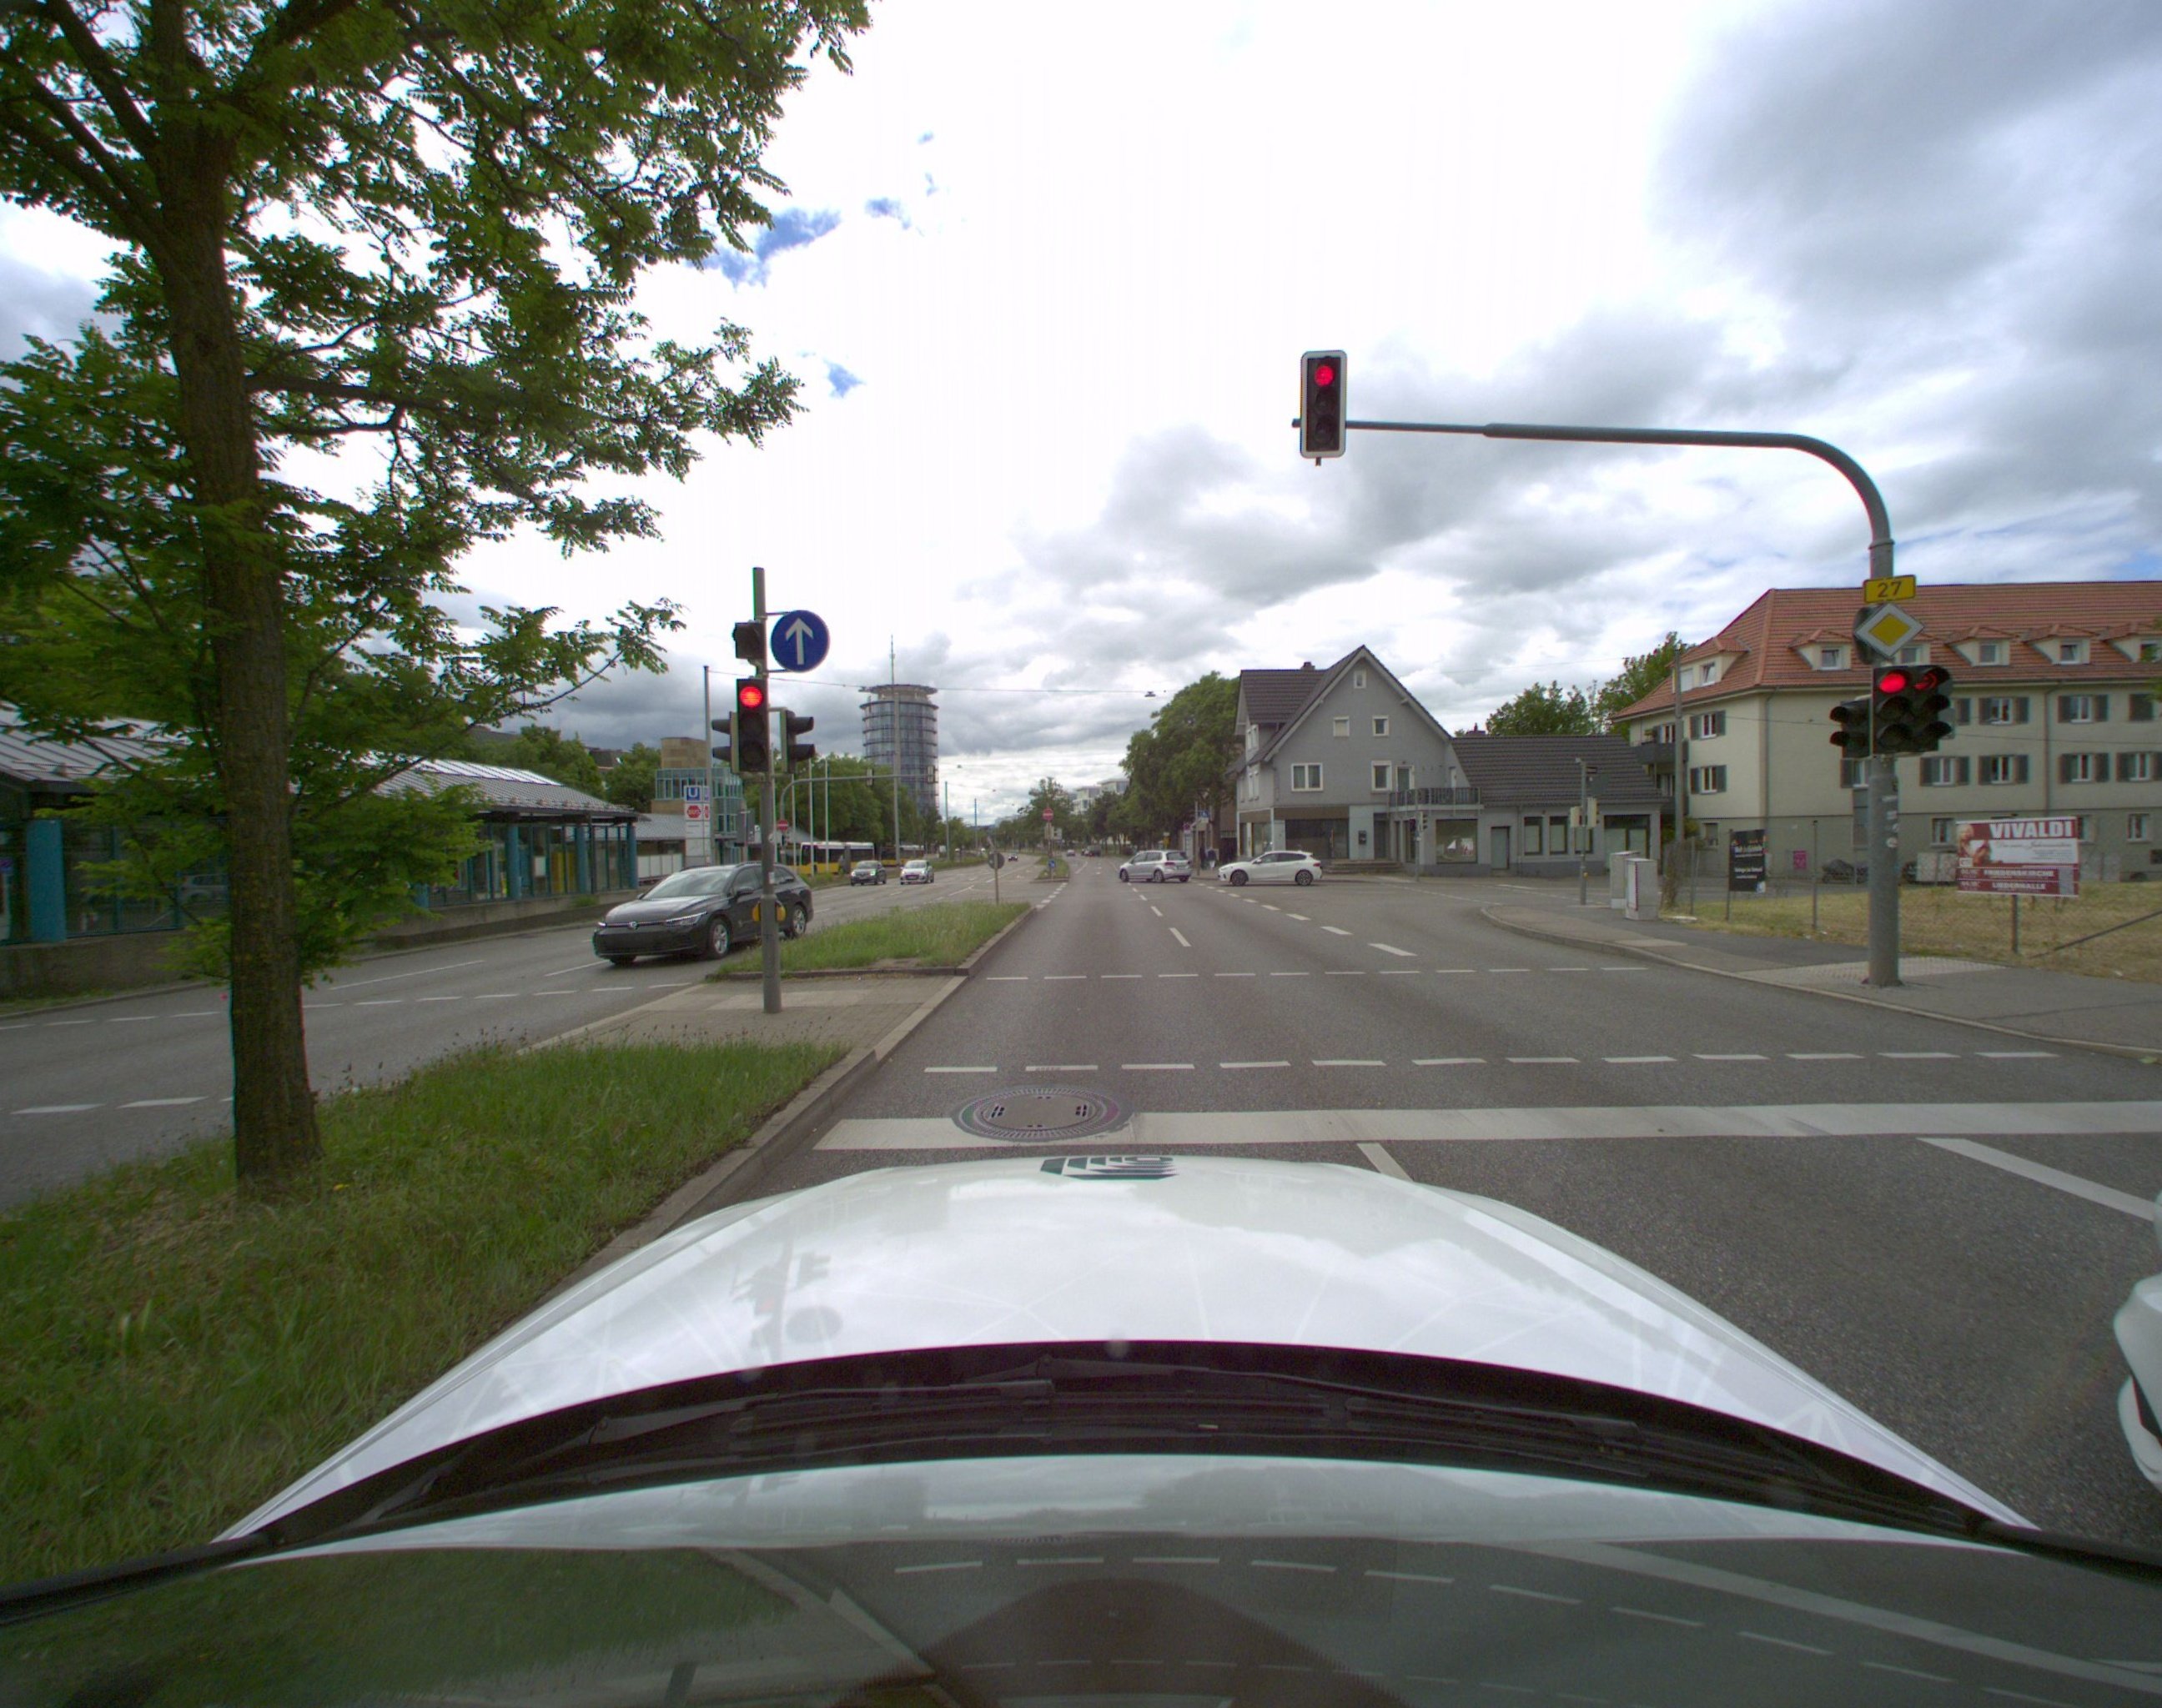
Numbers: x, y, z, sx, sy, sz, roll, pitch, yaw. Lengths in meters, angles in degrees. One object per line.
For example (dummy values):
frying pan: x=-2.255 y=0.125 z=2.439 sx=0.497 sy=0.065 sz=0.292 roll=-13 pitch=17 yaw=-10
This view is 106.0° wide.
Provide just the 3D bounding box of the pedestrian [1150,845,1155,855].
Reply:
pedestrian: x=11.169 y=-0.597 z=127.480 sx=0.649 sy=1.570 sz=0.669 roll=-2 pitch=0 yaw=-6

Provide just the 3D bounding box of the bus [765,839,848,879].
bus: x=-24.323 y=0.408 z=72.878 sx=2.975 sy=3.250 sz=10.186 roll=-2 pitch=0 yaw=6

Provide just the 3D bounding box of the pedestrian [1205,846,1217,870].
pedestrian: x=8.402 y=0.244 z=52.545 sx=0.701 sy=1.507 sz=0.872 roll=-2 pitch=0 yaw=10

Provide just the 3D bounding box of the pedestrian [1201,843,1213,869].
pedestrian: x=8.710 y=0.148 z=56.342 sx=0.700 sy=1.780 sz=0.874 roll=-2 pitch=0 yaw=16

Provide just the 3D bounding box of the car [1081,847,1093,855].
car: x=1.300 y=-0.548 z=174.114 sx=2.246 sy=1.647 sz=4.927 roll=-2 pitch=0 yaw=-3

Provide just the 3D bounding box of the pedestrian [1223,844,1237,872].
pedestrian: x=9.560 y=0.230 z=52.190 sx=0.702 sy=1.760 sz=1.053 roll=-2 pitch=0 yaw=4

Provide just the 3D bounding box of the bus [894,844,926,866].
bus: x=-26.032 y=0.131 z=124.337 sx=3.134 sy=3.225 sz=7.765 roll=-2 pitch=0 yaw=0

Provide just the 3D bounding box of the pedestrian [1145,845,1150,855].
pedestrian: x=10.357 y=-0.593 z=127.572 sx=0.649 sy=1.570 sz=0.669 roll=-2 pitch=0 yaw=-6

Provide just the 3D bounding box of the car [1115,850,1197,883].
car: x=3.636 y=0.564 z=40.141 sx=1.836 sy=1.540 sz=4.069 roll=0 pitch=0 yaw=-36

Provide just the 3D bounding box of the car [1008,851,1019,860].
car: x=-12.245 y=0.292 z=148.031 sx=1.696 sy=1.492 sz=3.562 roll=-2 pitch=0 yaw=1

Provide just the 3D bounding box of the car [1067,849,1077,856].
car: x=-1.900 y=-0.346 z=173.481 sx=1.963 sy=1.420 sz=4.017 roll=-2 pitch=0 yaw=-3

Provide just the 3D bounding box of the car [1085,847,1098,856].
car: x=2.106 y=-0.465 z=165.292 sx=2.246 sy=1.757 sz=4.928 roll=-2 pitch=0 yaw=-3

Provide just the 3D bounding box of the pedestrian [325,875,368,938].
pedestrian: x=-21.136 y=1.501 z=23.445 sx=0.528 sy=1.762 sz=0.754 roll=-2 pitch=0 yaw=-5

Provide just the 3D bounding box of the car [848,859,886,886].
car: x=-13.494 y=1.150 z=51.542 sx=1.681 sy=1.578 sz=3.344 roll=-2 pitch=0 yaw=-4

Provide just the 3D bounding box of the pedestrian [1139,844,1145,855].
pedestrian: x=11.025 y=-0.813 z=147.238 sx=0.967 sy=2.014 sz=0.981 roll=0 pitch=-1 yaw=1

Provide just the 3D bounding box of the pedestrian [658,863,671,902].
pedestrian: x=-17.405 y=1.179 z=34.033 sx=0.420 sy=1.591 sz=0.353 roll=-2 pitch=0 yaw=-28

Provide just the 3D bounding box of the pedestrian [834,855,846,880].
pedestrian: x=-18.431 y=1.056 z=62.378 sx=0.659 sy=1.897 sz=0.686 roll=-2 pitch=0 yaw=1

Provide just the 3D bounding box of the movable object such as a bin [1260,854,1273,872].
movable object such as a bin: x=10.030 y=0.477 z=43.964 sx=0.527 sy=0.979 sz=0.737 roll=-2 pitch=0 yaw=2

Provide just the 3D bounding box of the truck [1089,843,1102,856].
truck: x=2.763 y=-0.809 z=156.679 sx=2.246 sy=2.416 sz=4.928 roll=-1 pitch=0 yaw=-3

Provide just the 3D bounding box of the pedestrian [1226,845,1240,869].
pedestrian: x=11.030 y=0.209 z=59.164 sx=0.698 sy=1.662 sz=0.875 roll=-2 pitch=0 yaw=27

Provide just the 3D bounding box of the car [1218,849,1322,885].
car: x=8.016 y=0.543 z=34.862 sx=4.216 sy=1.477 sz=2.006 roll=-1 pitch=0 yaw=10

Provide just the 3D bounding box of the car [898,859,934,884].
car: x=-10.341 y=1.058 z=51.331 sx=1.680 sy=1.462 sz=3.552 roll=-2 pitch=0 yaw=-3

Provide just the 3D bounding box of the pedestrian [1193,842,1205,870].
pedestrian: x=7.671 y=0.133 z=52.943 sx=0.701 sy=1.780 sz=0.872 roll=-2 pitch=0 yaw=7

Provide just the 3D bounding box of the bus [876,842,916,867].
bus: x=-26.090 y=0.105 z=115.328 sx=3.135 sy=3.225 sz=10.282 roll=-2 pitch=0 yaw=0

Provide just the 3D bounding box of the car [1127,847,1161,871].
car: x=4.308 y=0.356 z=56.093 sx=1.884 sy=1.494 sz=4.096 roll=-2 pitch=-1 yaw=-1

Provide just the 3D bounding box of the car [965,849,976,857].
car: x=-27.246 y=-0.160 z=201.228 sx=1.958 sy=2.014 sz=4.001 roll=0 pitch=-1 yaw=2

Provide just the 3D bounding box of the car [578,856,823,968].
car: x=-6.177 y=0.845 z=13.879 sx=1.700 sy=1.481 sz=4.296 roll=-4 pitch=0 yaw=6

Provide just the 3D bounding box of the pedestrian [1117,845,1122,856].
pedestrian: x=8.350 y=-0.751 z=175.967 sx=0.930 sy=2.308 sz=1.008 roll=0 pitch=-1 yaw=-8

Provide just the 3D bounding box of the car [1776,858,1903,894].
car: x=34.039 y=0.983 z=36.620 sx=3.972 sy=1.537 sz=1.871 roll=0 pitch=0 yaw=2

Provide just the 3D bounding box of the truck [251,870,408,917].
truck: x=-28.314 y=1.442 z=30.887 sx=4.014 sy=1.517 sz=1.980 roll=-2 pitch=0 yaw=-32

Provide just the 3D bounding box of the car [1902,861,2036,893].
car: x=39.809 y=1.020 z=36.582 sx=3.972 sy=1.377 sz=1.871 roll=0 pitch=0 yaw=2

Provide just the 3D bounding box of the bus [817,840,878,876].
bus: x=-23.350 y=0.375 z=81.877 sx=2.975 sy=3.270 sz=7.889 roll=-2 pitch=0 yaw=6
